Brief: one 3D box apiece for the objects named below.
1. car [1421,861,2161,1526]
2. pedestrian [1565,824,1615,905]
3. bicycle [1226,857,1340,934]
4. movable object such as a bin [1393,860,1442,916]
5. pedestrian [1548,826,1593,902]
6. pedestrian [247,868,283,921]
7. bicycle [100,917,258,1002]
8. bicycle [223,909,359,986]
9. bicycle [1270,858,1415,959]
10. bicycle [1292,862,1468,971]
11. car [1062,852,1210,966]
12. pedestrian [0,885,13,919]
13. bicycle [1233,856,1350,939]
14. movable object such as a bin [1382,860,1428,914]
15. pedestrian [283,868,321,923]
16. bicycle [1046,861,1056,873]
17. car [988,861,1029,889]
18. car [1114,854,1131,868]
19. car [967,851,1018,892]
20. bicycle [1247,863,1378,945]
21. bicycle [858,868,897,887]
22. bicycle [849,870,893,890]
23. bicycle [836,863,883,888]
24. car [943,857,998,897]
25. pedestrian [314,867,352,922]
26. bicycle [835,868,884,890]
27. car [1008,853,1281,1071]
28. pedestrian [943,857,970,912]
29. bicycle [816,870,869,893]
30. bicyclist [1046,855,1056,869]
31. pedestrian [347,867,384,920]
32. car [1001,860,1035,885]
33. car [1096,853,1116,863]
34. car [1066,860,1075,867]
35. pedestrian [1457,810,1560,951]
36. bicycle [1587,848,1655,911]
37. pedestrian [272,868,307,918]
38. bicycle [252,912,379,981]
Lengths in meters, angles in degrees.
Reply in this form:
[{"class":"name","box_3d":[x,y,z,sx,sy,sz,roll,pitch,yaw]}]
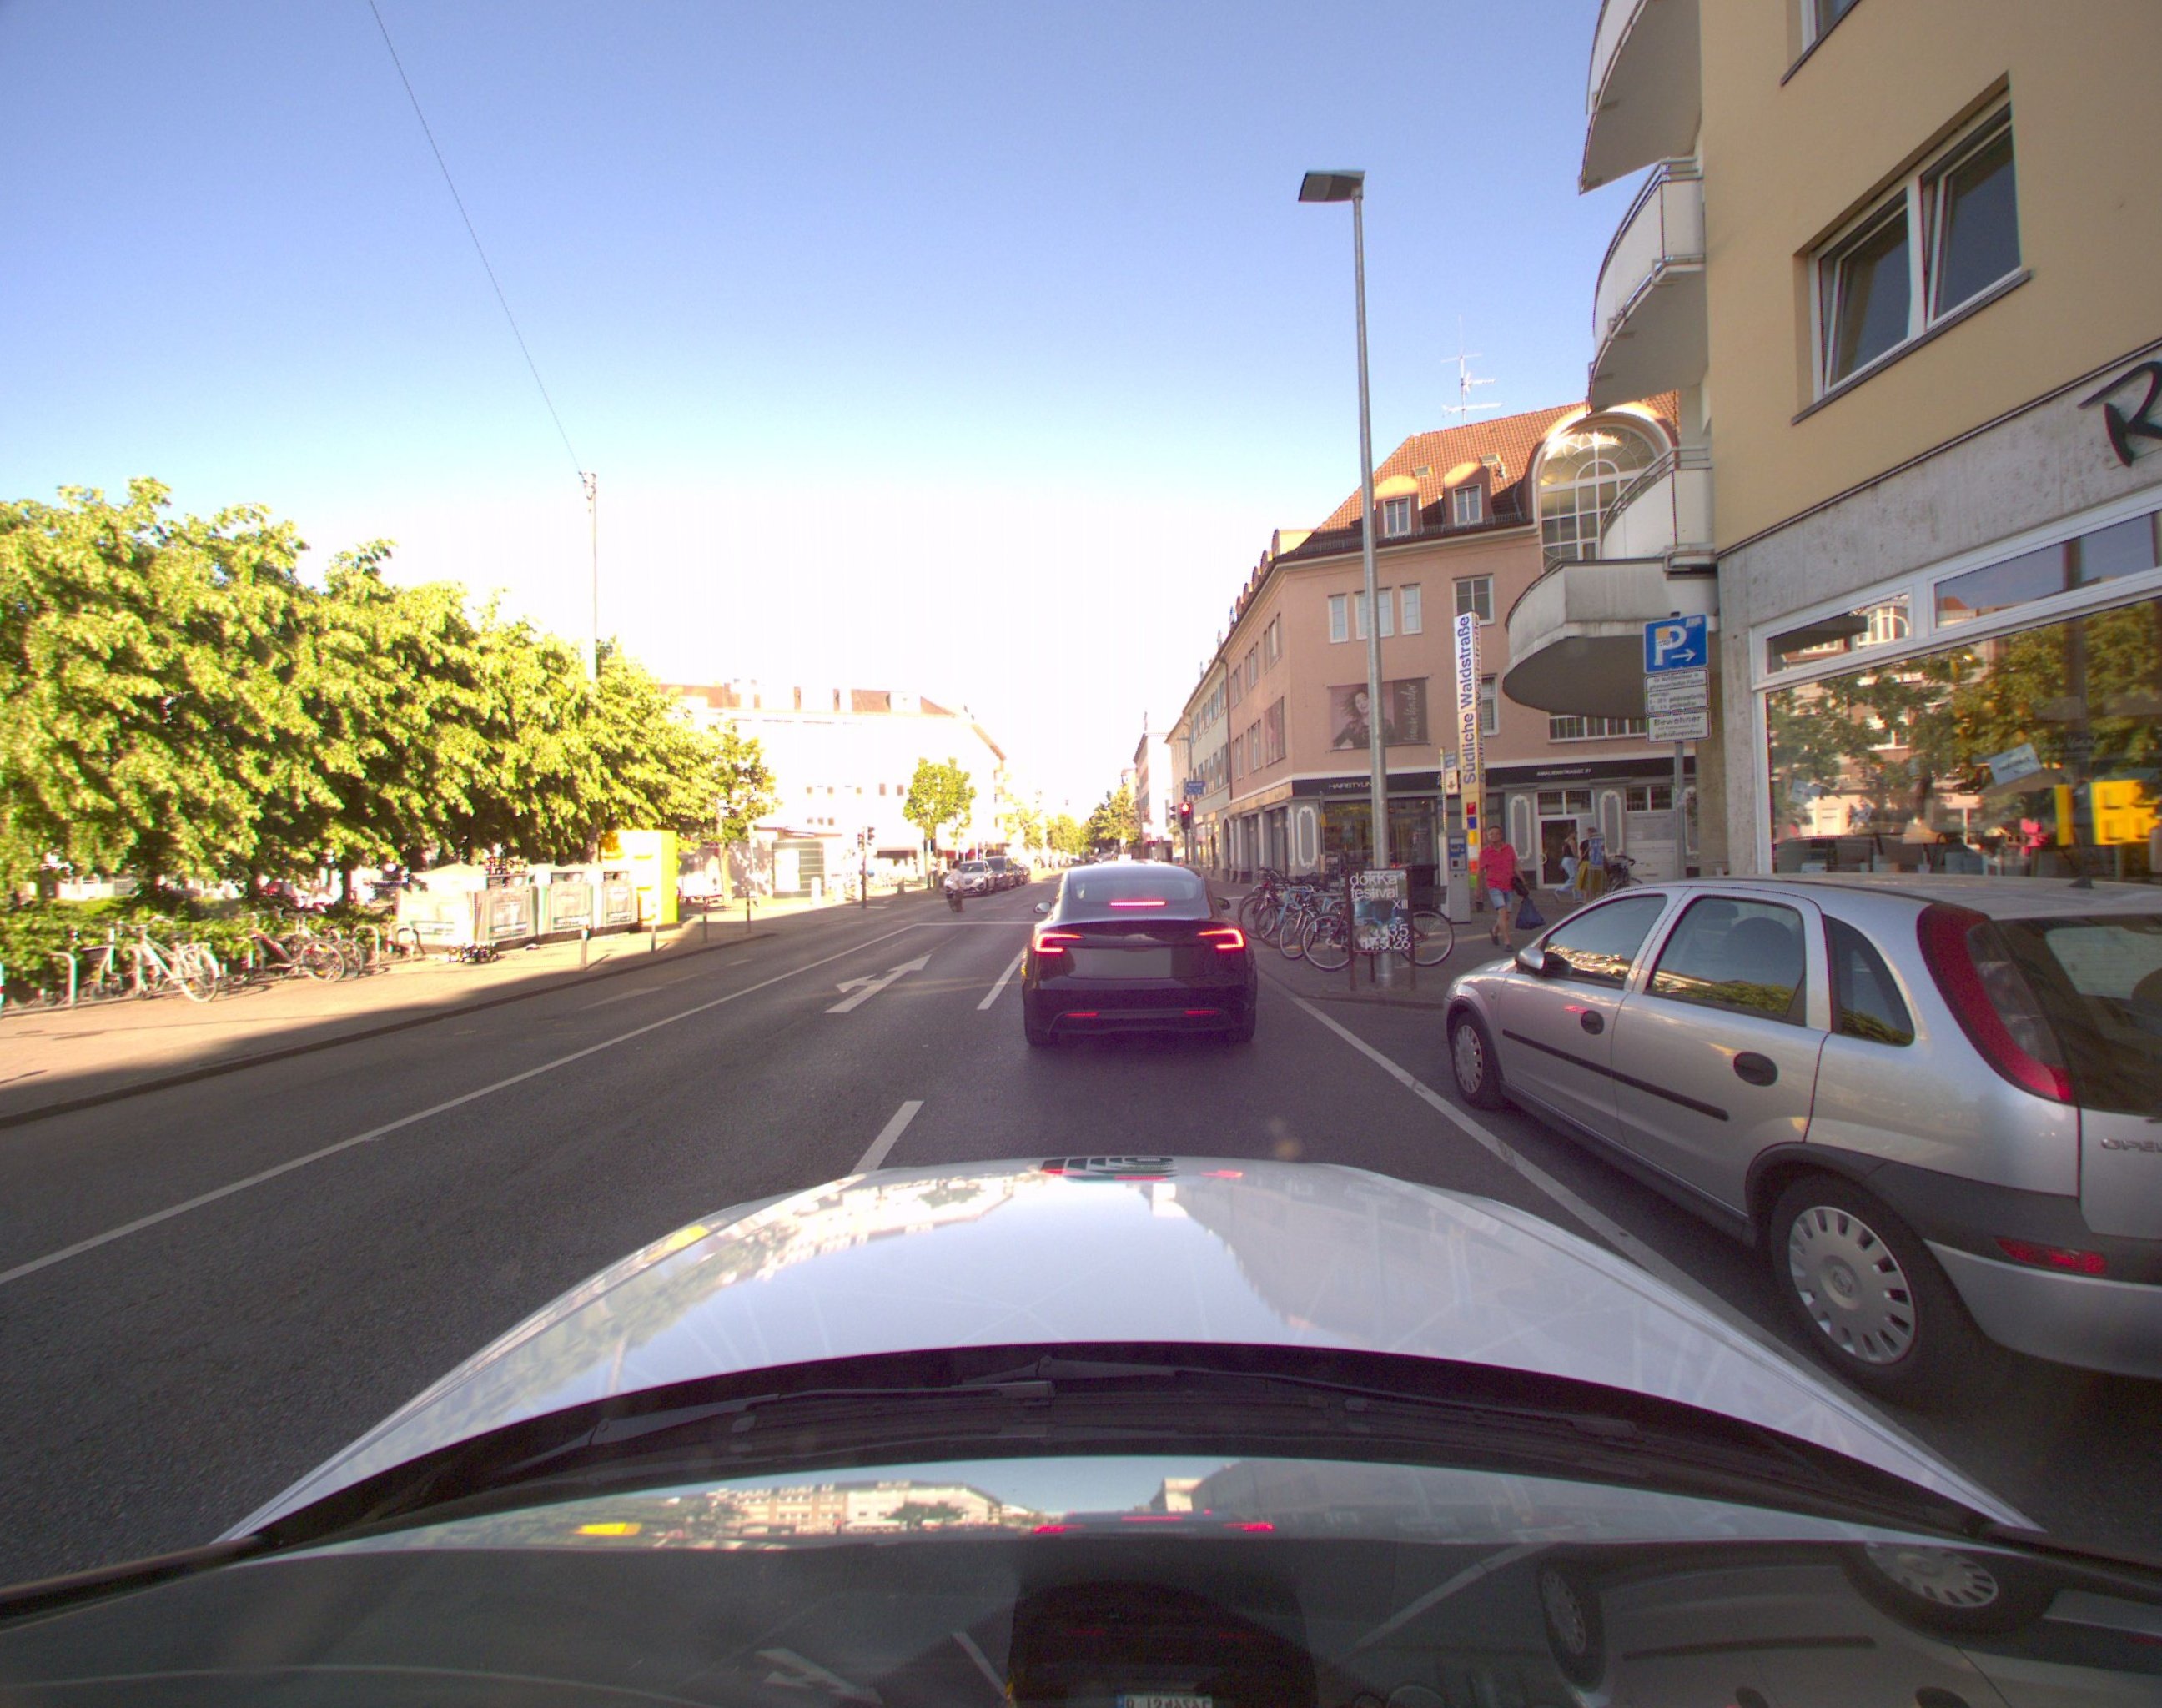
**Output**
[{"class":"car","box_3d":[2.968,0.734,3.532,1.607,1.382,3.645,0,0,2]},{"class":"pedestrian","box_3d":[11.186,0.224,17.901,0.713,1.713,0.730,-1,-1,-42]},{"class":"bicycle","box_3d":[3.620,0.743,14.722,1.851,1.258,0.834,-3,-1,7]},{"class":"movable object such as a bin","box_3d":[6.741,0.675,16.351,0.749,1.092,0.628,0,-1,3]},{"class":"pedestrian","box_3d":[11.222,0.237,18.695,0.771,1.683,0.832,-4,-3,29]},{"class":"pedestrian","box_3d":[-32.412,1.591,32.349,0.980,2.013,0.910,-2,-1,38]},{"class":"bicycle","box_3d":[-11.456,1.330,10.358,1.590,1.018,0.430,-1,0,3]},{"class":"bicycle","box_3d":[-11.320,1.334,11.677,1.561,1.023,0.430,-1,0,3]},{"class":"bicycle","box_3d":[3.540,0.728,11.161,1.713,1.268,0.792,-3,-1,7]},{"class":"bicycle","box_3d":[3.636,0.755,10.025,1.876,1.193,0.693,-3,0,7]},{"class":"car","box_3d":[0.773,0.756,13.234,1.987,1.512,4.175,-1,0,0]},{"class":"pedestrian","box_3d":[-67.159,2.979,50.534,1.385,2.013,0.910,-1,0,44]},{"class":"bicycle","box_3d":[3.505,0.714,13.694,1.738,1.267,0.782,-3,-1,4]},{"class":"movable object such as a bin","box_3d":[6.750,0.680,16.989,0.730,1.092,0.628,0,-1,3]},{"class":"pedestrian","box_3d":[-29.789,1.562,31.136,0.980,2.013,0.910,-2,-1,38]},{"class":"bicycle","box_3d":[-3.483,1.545,95.796,1.108,1.344,3.998,-1,0,-1]},{"class":"car","box_3d":[-4.365,1.235,49.688,1.988,1.410,4.672,-5,0,-1]},{"class":"car","box_3d":[5.120,0.831,100.824,1.986,1.629,4.002,-1,0,2]},{"class":"car","box_3d":[-4.586,0.863,42.867,1.827,1.845,4.677,-5,0,2]},{"class":"bicycle","box_3d":[3.520,0.757,12.514,1.788,1.124,0.783,-3,-1,7]},{"class":"bicycle","box_3d":[-13.169,1.517,52.698,2.318,1.156,0.841,-1,0,-4]},{"class":"bicycle","box_3d":[-12.952,1.573,50.263,2.528,1.156,0.841,-1,0,-4]},{"class":"bicycle","box_3d":[-12.909,1.246,47.504,2.472,1.324,0.921,-1,0,-4]},{"class":"car","box_3d":[-4.884,0.988,36.643,1.802,1.555,4.308,-5,0,-1]},{"class":"pedestrian","box_3d":[-28.528,1.527,31.056,0.980,2.013,0.910,-2,-1,38]},{"class":"bicycle","box_3d":[-12.378,1.404,45.557,2.453,1.156,0.843,-1,0,0]},{"class":"car","box_3d":[0.497,0.760,7.613,1.841,1.455,4.001,-1,0,2]},{"class":"pedestrian","box_3d":[-3.660,0.884,23.982,0.746,1.552,0.697,-1,0,-8]},{"class":"bicycle","box_3d":[-12.585,1.439,43.028,2.497,1.156,0.843,-1,0,0]},{"class":"bicyclist","box_3d":[-3.509,0.930,95.893,1.123,1.628,0.965,-1,0,-1]},{"class":"pedestrian","box_3d":[-27.987,1.530,31.842,0.980,2.013,0.910,-2,-1,38]},{"class":"car","box_3d":[-4.396,1.260,57.286,1.988,1.436,4.672,-5,0,-1]},{"class":"car","box_3d":[5.113,0.853,167.682,3.974,2.013,2.000,-1,0,0]},{"class":"car","box_3d":[-2.493,2.165,187.378,1.988,1.637,3.998,-1,0,-1]},{"class":"pedestrian","box_3d":[5.796,0.348,11.111,0.859,1.784,1.011,-4,-1,10]},{"class":"bicycle","box_3d":[11.043,0.488,16.733,0.653,1.199,2.223,-2,0,21]},{"class":"pedestrian","box_3d":[-32.657,1.603,33.596,0.980,2.013,0.910,-2,-1,38]},{"class":"bicycle","box_3d":[-11.465,1.383,12.210,1.517,0.958,0.431,-1,1,3]}]
